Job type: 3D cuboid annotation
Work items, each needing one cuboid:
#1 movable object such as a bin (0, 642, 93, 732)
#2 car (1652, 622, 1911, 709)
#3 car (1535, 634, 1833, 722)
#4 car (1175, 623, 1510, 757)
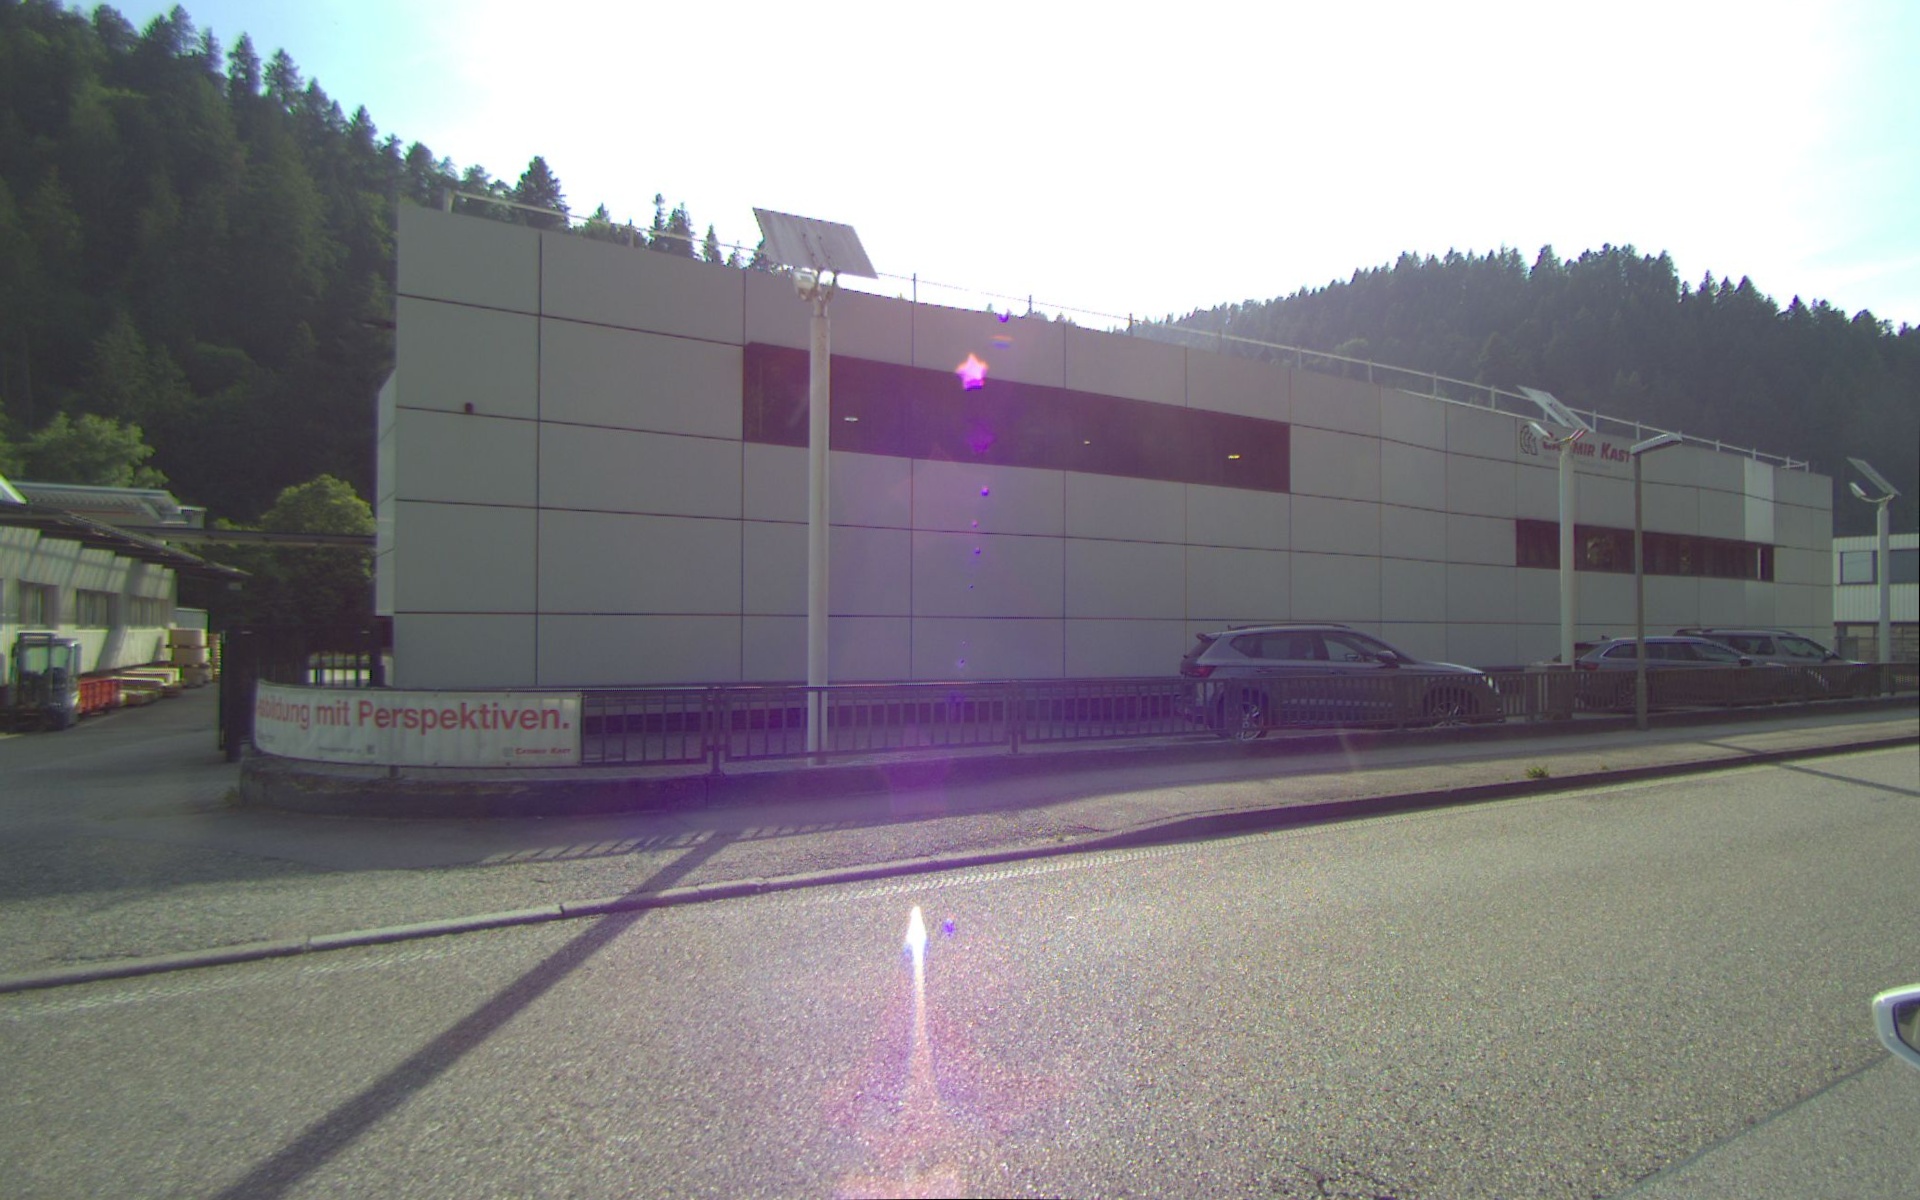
[{"bbox_3d":[-21.697,2.036,23.847,1.367,2.040,1.806,1,-3,-32],"label":"movable object such as a bin"},{"bbox_3d":[17.880,1.376,22.073,4.027,1.731,1.783,1,-1,12],"label":"car"},{"bbox_3d":[14.158,1.493,19.925,4.397,1.514,1.890,1,-1,12],"label":"car"},{"bbox_3d":[5.089,1.157,13.953,4.090,1.613,1.890,1,-1,12],"label":"car"}]
